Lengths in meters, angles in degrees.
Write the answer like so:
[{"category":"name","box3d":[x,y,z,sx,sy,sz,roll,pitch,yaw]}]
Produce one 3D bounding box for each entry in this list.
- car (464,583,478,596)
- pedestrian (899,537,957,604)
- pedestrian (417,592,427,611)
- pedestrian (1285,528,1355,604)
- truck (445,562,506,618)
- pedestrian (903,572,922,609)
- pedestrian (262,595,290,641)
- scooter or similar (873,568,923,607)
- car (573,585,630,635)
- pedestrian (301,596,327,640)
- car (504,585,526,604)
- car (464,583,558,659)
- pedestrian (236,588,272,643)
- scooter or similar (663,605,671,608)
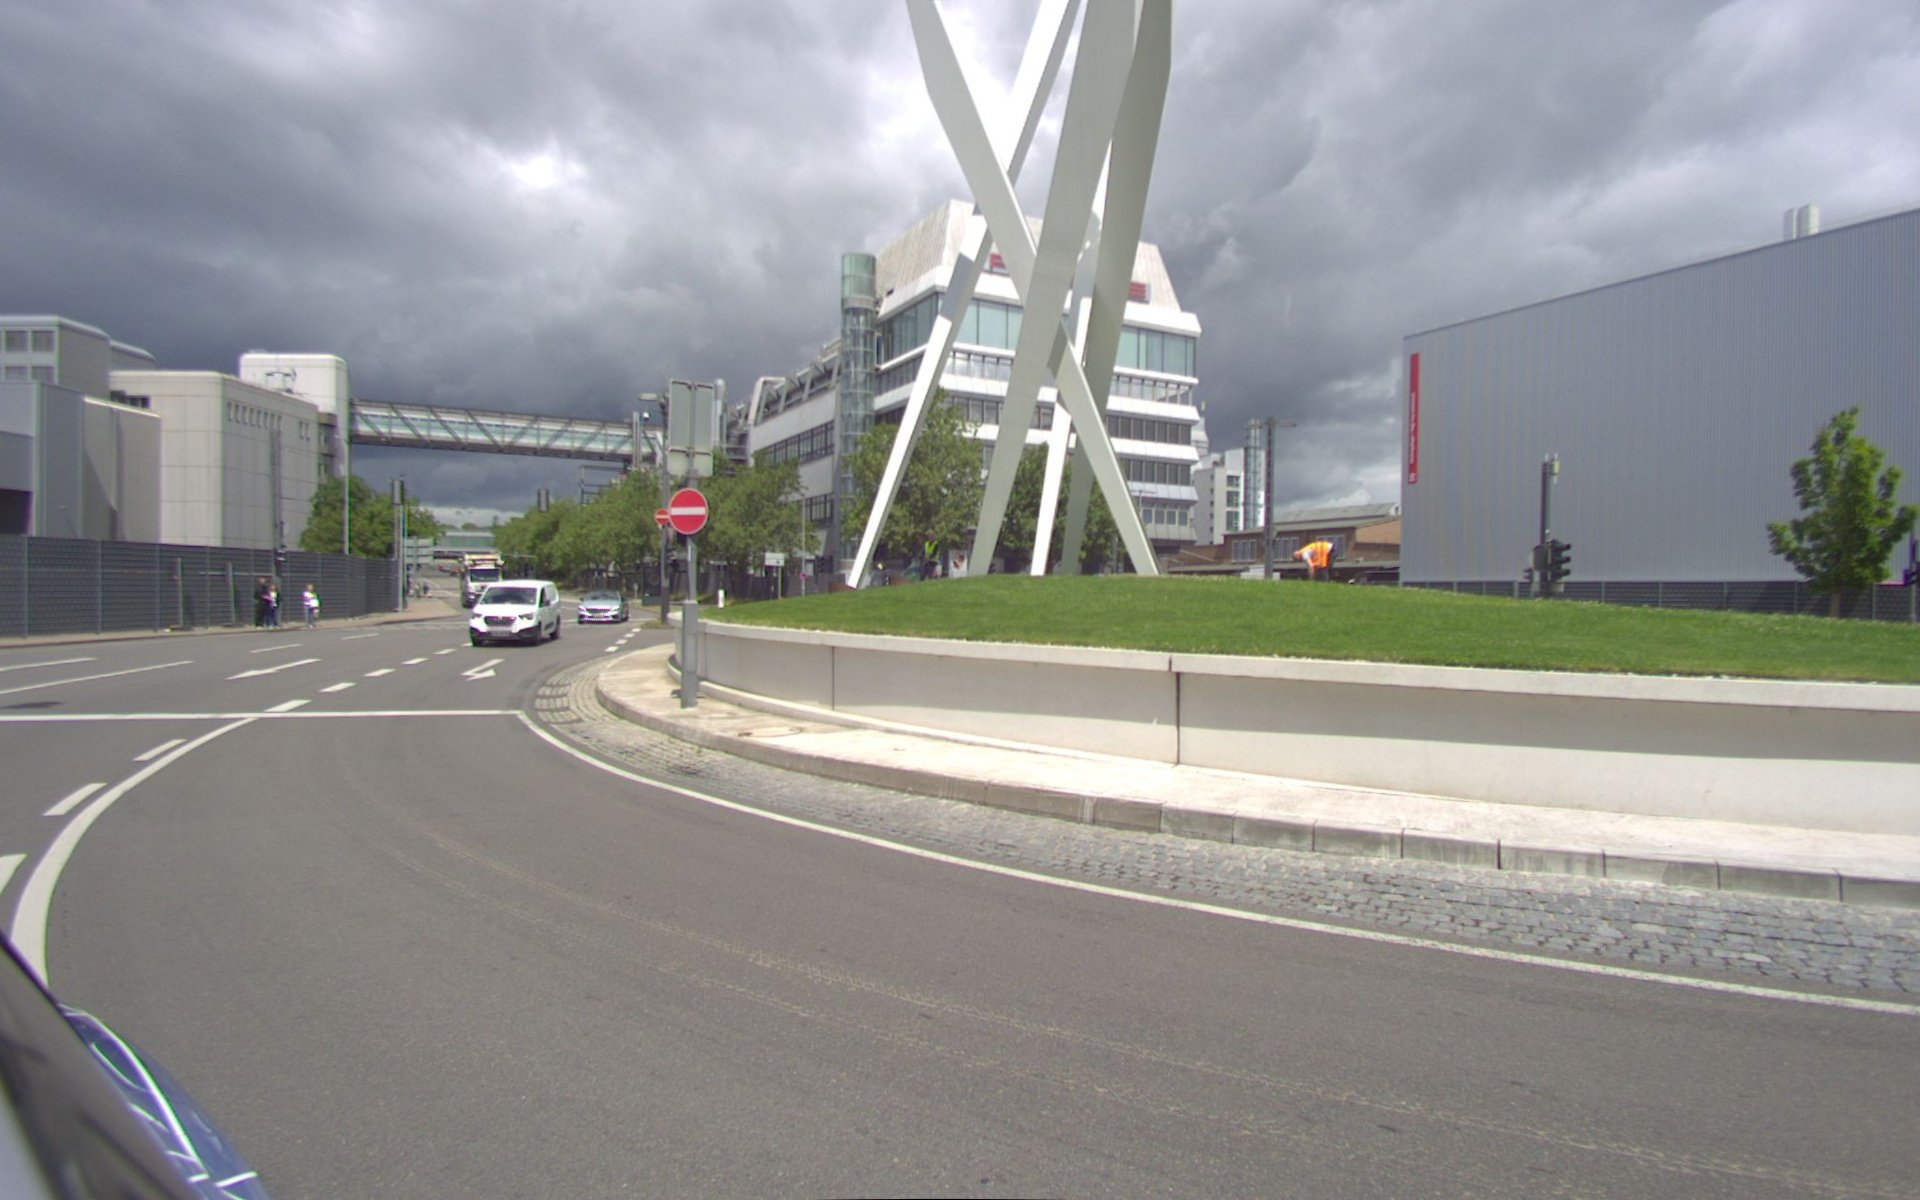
[{"category":"car","box3d":[-80.158,-1.778,165.873,1.841,1.970,4.727,-2,3,-28]},{"category":"pedestrian","box3d":[-0.900,-0.822,28.675,0.987,1.830,1.267,1,-1,45]},{"category":"pedestrian","box3d":[-52.338,0.141,98.382,0.784,1.733,0.734,-1,2,-33]},{"category":"pedestrian","box3d":[7.257,-0.686,20.461,0.842,1.417,0.967,6,1,-7]},{"category":"truck","box3d":[-36.139,-0.792,75.249,2.669,3.914,10.771,0,1,-33]},{"category":"pedestrian","box3d":[-2.674,-0.536,57.006,0.940,2.070,0.953,0,1,-10]},{"category":"pedestrian","box3d":[-24.382,0.638,36.087,0.462,1.628,0.658,0,2,22]},{"category":"scooter or similar","box3d":[-1.682,-0.334,27.693,0.550,1.033,1.385,1,1,42]},{"category":"car","box3d":[-15.669,0.384,44.466,1.842,1.970,4.724,-1,2,-13]},{"category":"pedestrian","box3d":[-24.874,0.686,38.960,0.650,1.620,0.825,-1,2,-18]},{"category":"car","box3d":[-50.085,-0.693,113.964,1.841,1.970,4.727,-2,3,-28]},{"category":"car","box3d":[-13.121,0.539,29.830,1.795,2.029,4.403,0,1,-14]},{"category":"pedestrian","box3d":[-24.664,0.531,35.371,0.657,1.880,0.787,0,2,23]},{"category":"scooter or similar","box3d":[-29.515,0.669,101.959,0.531,0.325,1.274,0,0,-5]}]
